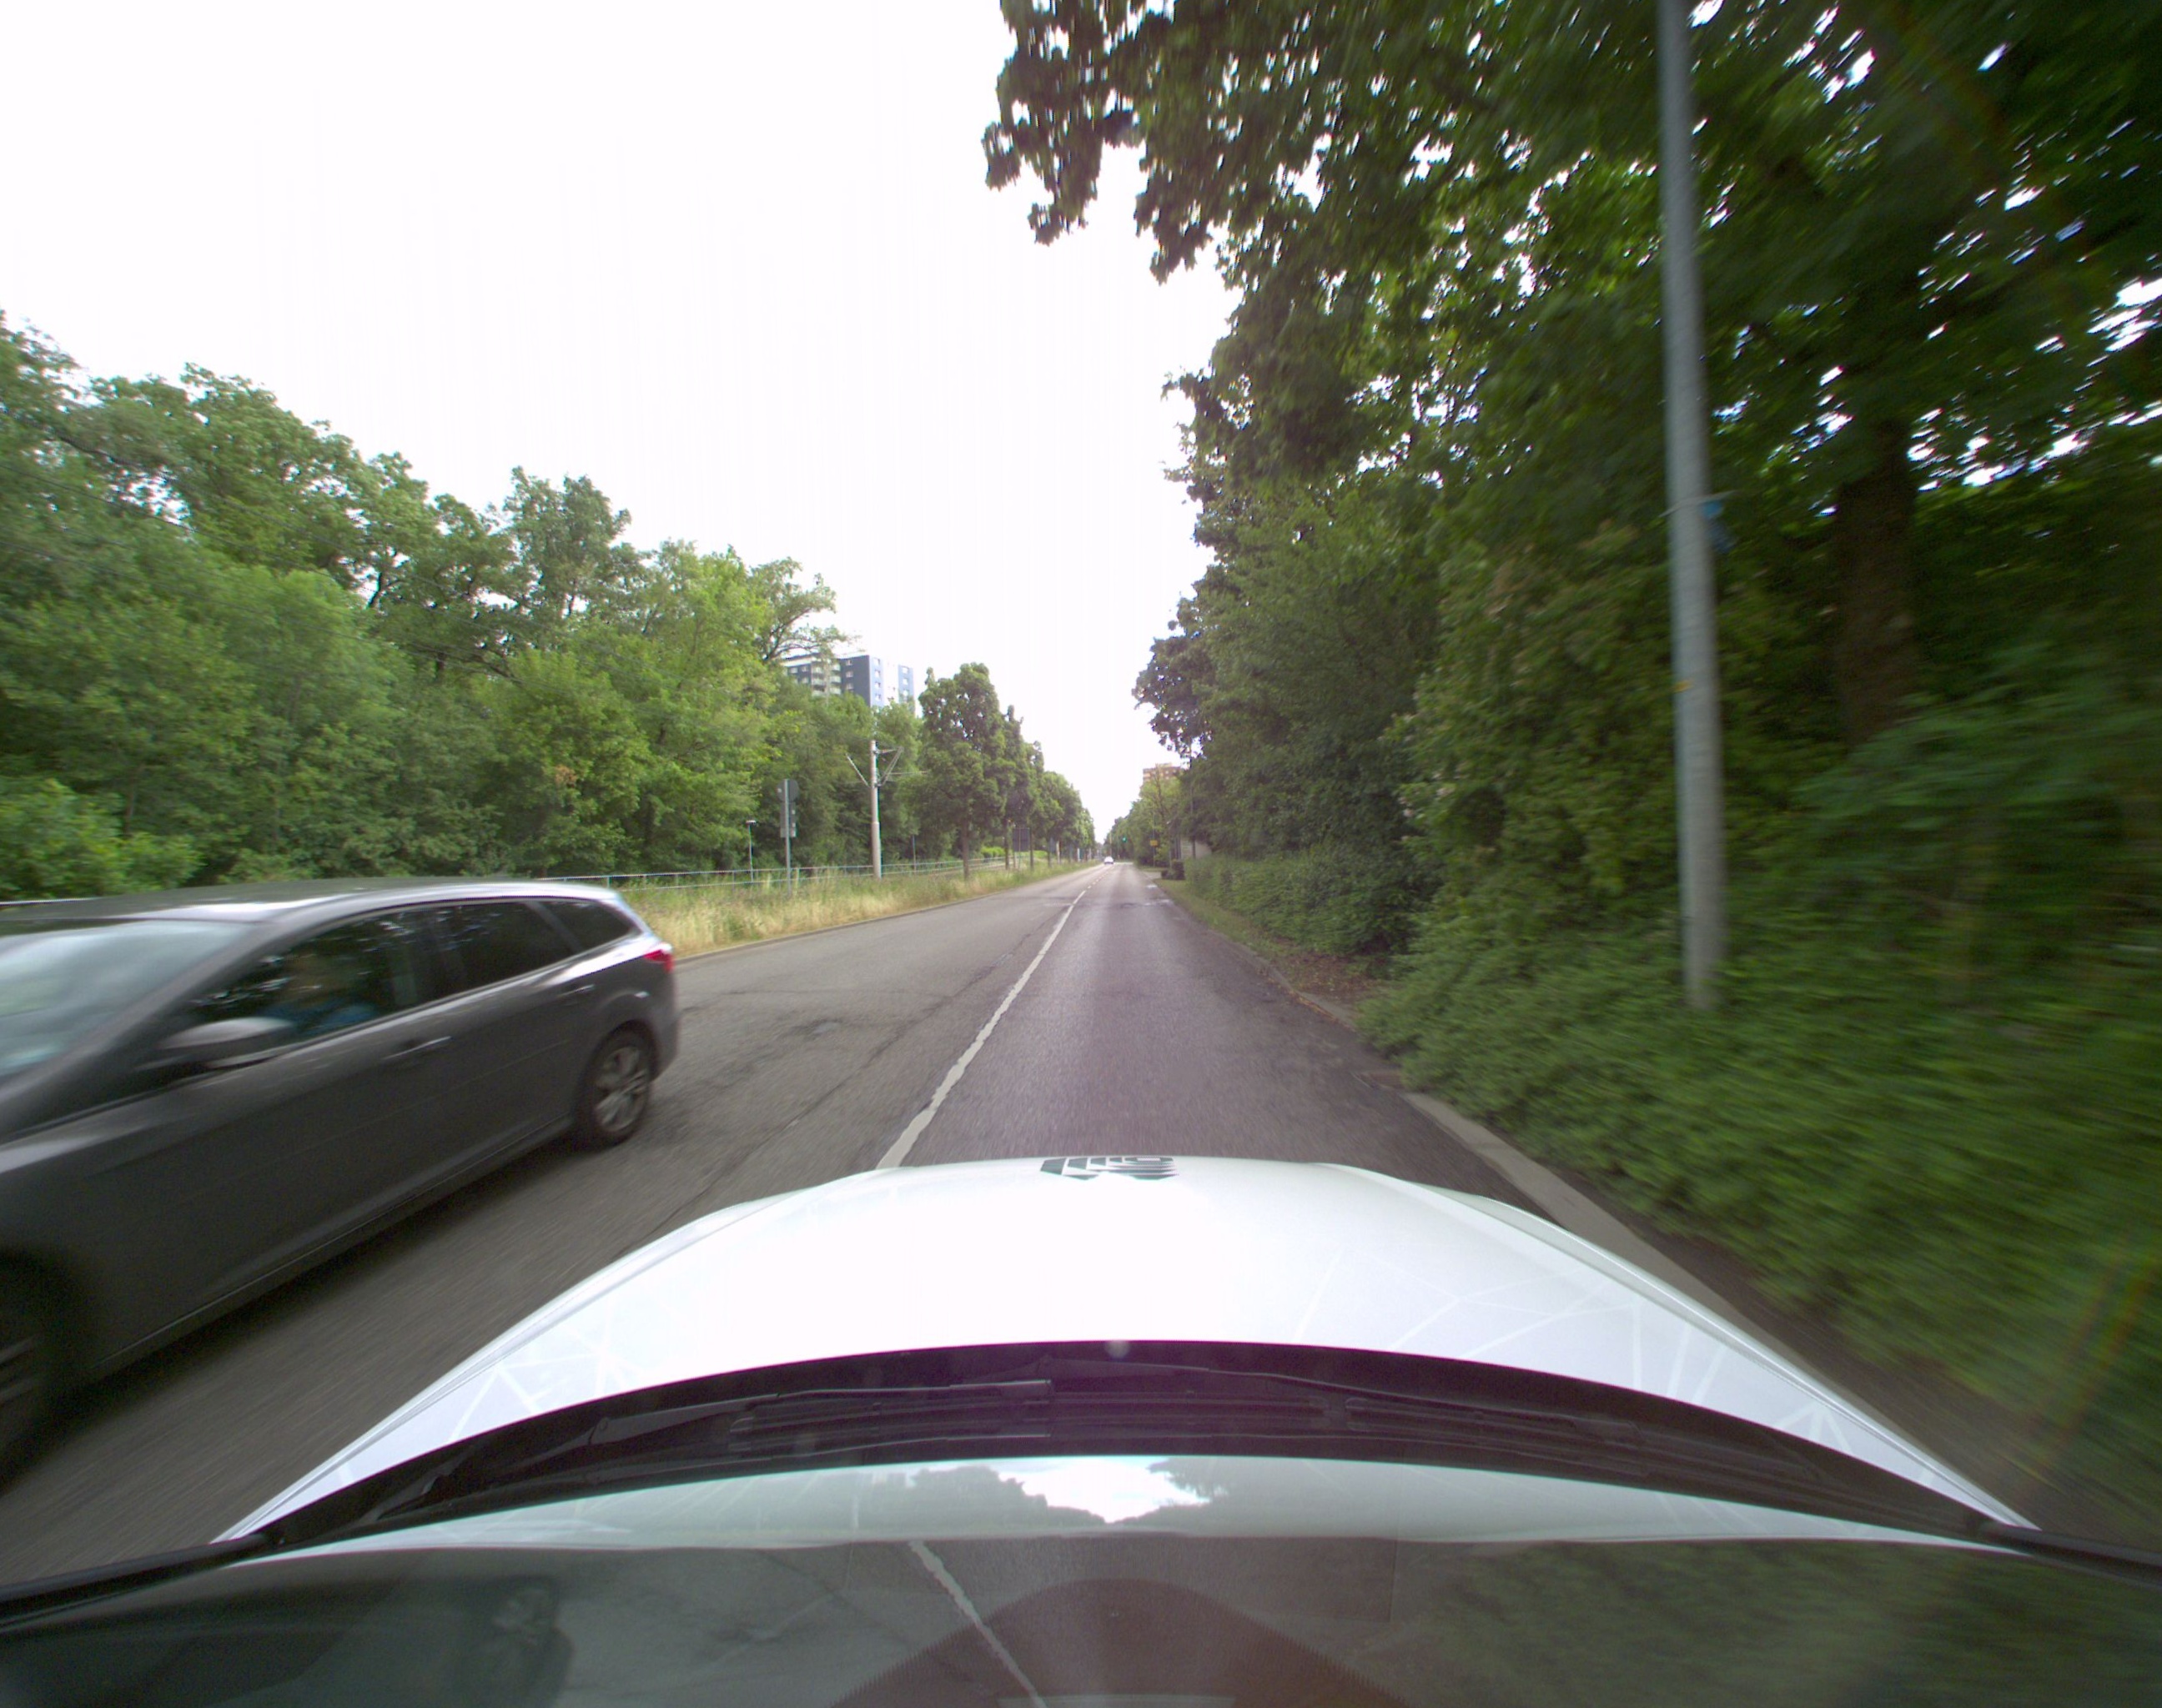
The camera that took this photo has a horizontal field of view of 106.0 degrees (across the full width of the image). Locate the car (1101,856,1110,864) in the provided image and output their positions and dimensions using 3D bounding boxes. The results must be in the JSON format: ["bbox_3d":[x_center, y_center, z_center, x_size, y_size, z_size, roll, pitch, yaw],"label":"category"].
[{"bbox_3d":[5.021,1.279,167.509,1.709,1.629,4.004,0,0,3],"label":"car"}]

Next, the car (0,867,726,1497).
[{"bbox_3d":[-3.393,0.825,3.387,1.749,1.434,4.430,-1,0,2],"label":"car"}]
